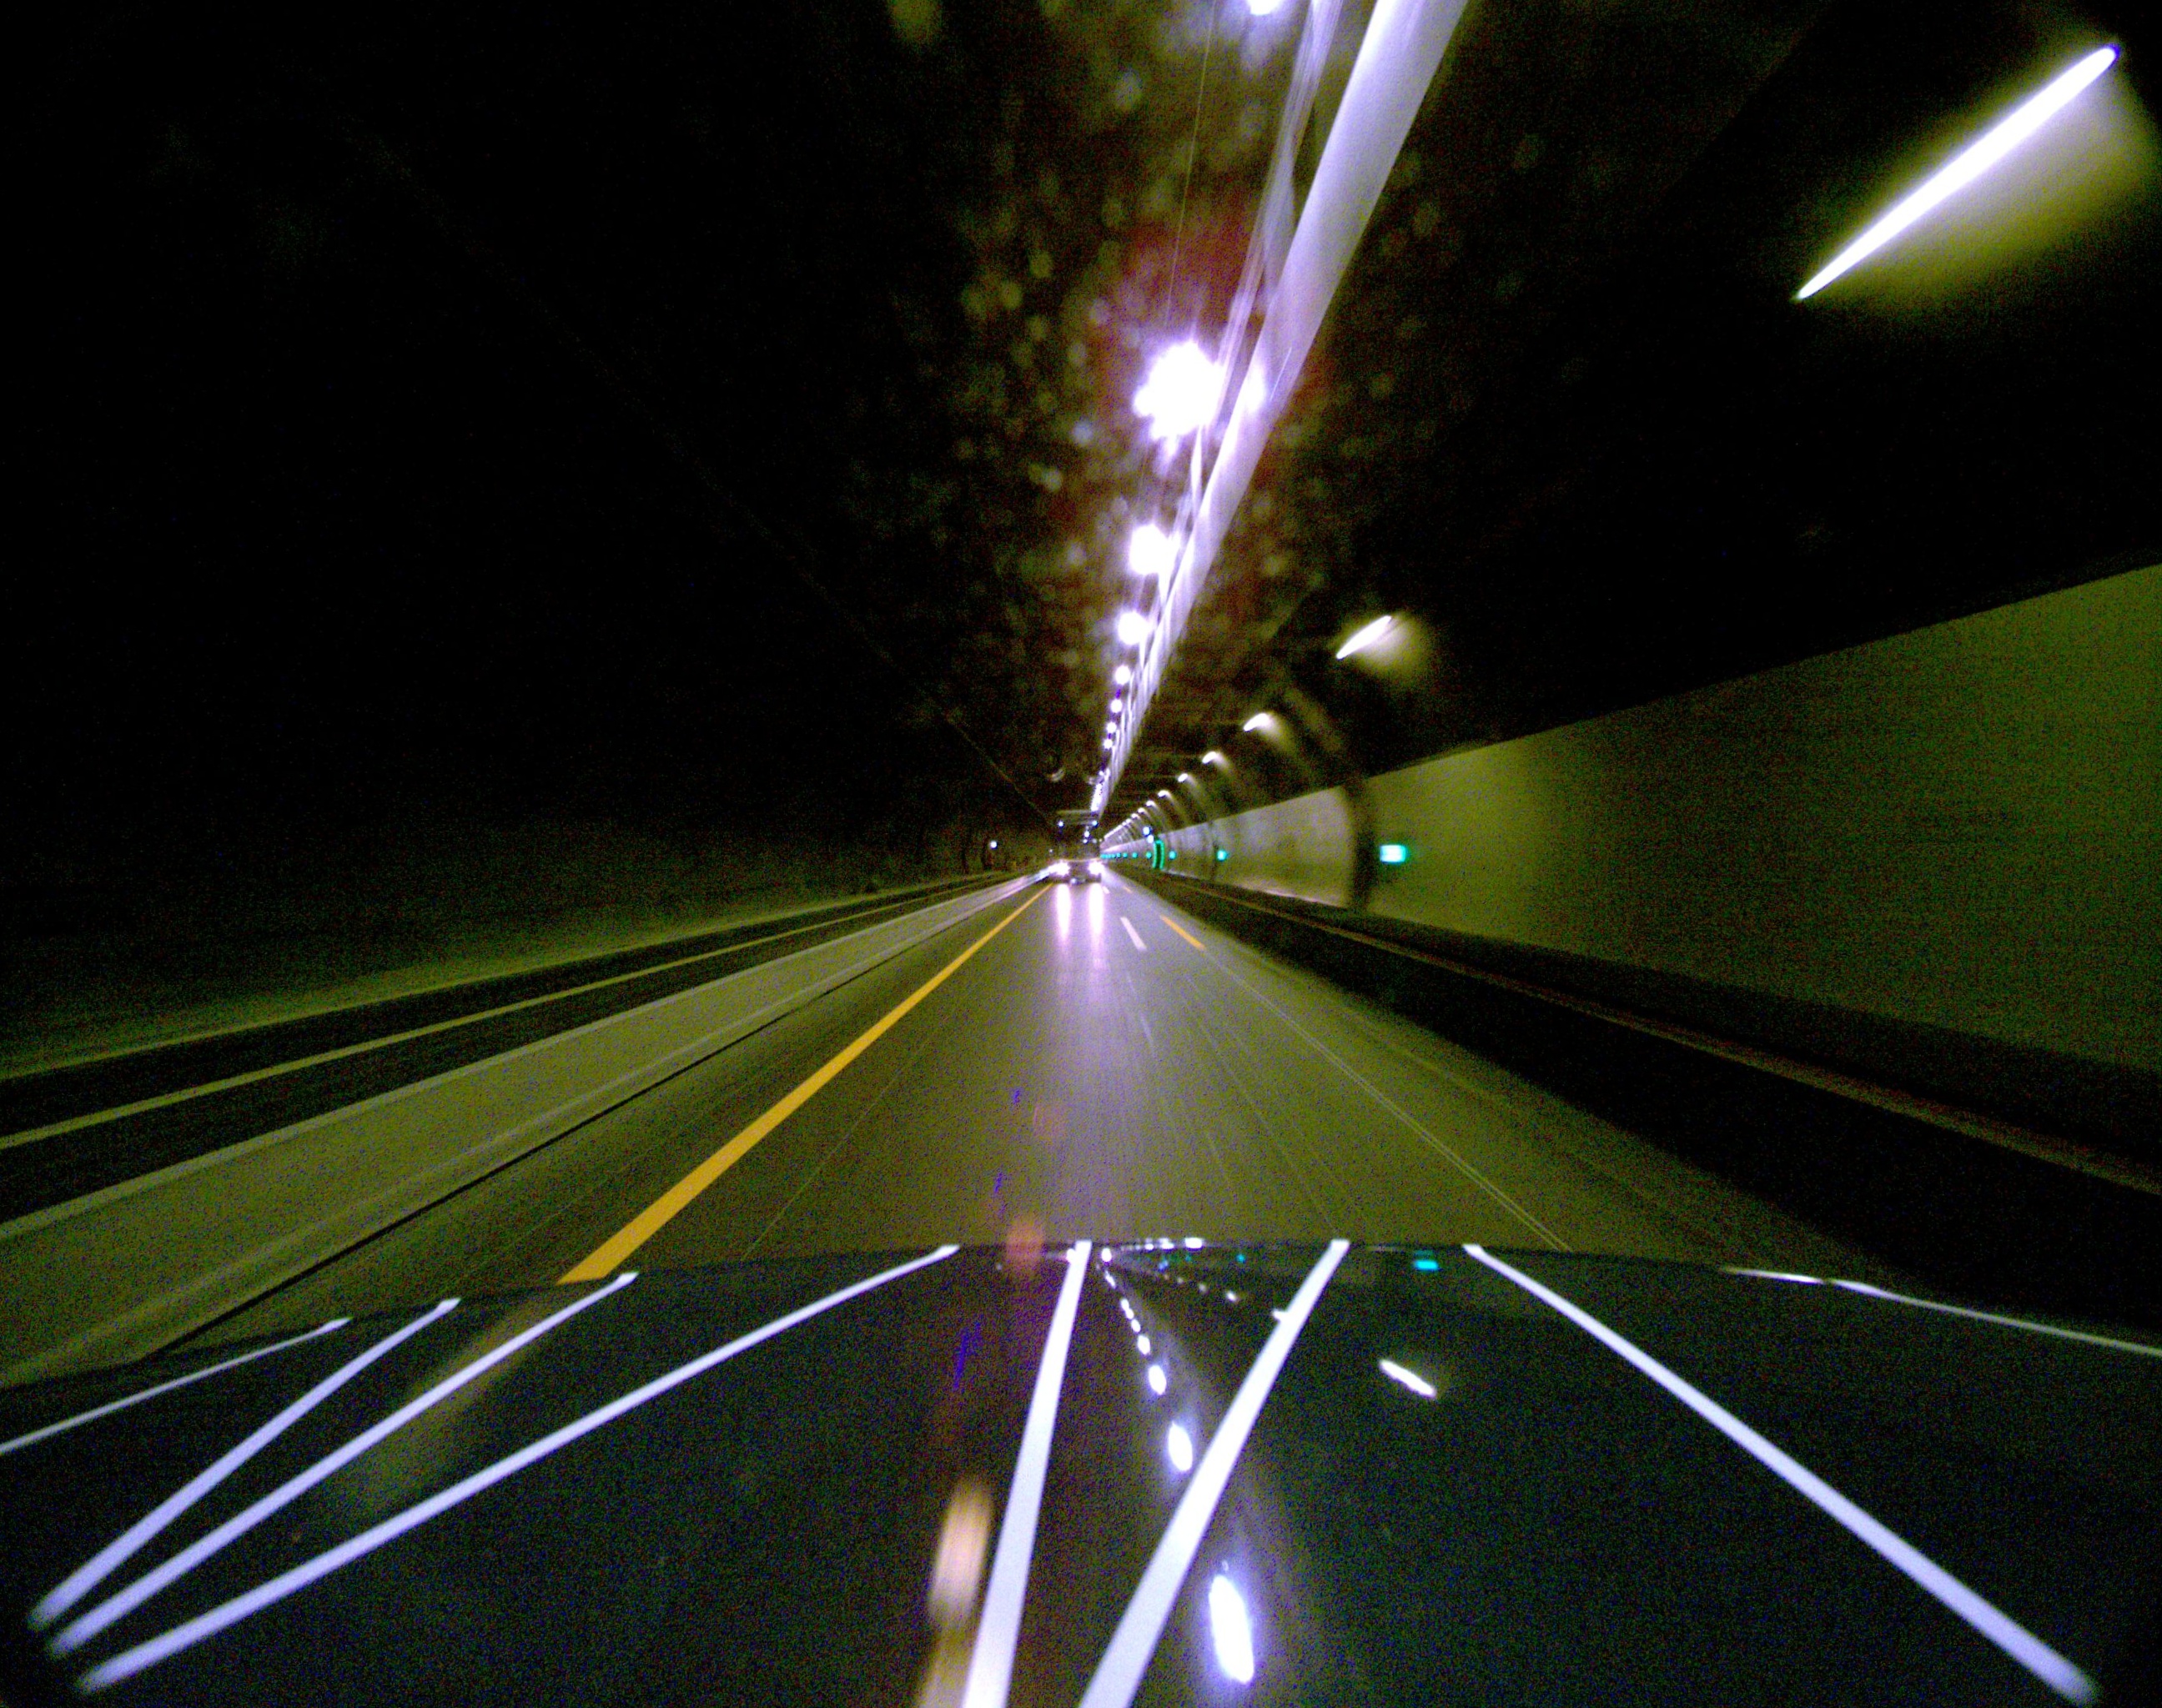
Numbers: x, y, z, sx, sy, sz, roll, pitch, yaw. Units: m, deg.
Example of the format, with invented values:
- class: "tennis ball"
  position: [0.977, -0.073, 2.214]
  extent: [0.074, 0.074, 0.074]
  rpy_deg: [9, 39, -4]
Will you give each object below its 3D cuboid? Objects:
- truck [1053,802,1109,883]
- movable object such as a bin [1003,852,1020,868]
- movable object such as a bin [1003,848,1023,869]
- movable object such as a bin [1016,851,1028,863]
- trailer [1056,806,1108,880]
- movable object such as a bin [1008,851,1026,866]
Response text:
- class: "truck"
  position: [0.044, -0.672, 44.905]
  extent: [2.951, 4.338, 6.674]
  rpy_deg: [-1, 1, 1]
- class: "movable object such as a bin"
  position: [-8.078, 0.669, 88.534]
  extent: [1.560, 1.699, 3.054]
  rpy_deg: [-1, 1, 0]
- class: "movable object such as a bin"
  position: [-7.377, 0.487, 82.807]
  extent: [1.688, 2.133, 4.627]
  rpy_deg: [-1, 1, 0]
- class: "movable object such as a bin"
  position: [-7.751, 0.383, 100.462]
  extent: [1.306, 1.584, 3.055]
  rpy_deg: [3, 0, 0]
- class: "trailer"
  position: [0.120, -0.685, 49.961]
  extent: [2.940, 4.316, 10.051]
  rpy_deg: [-1, 1, 1]
- class: "movable object such as a bin"
  position: [-7.936, 0.562, 94.310]
  extent: [1.865, 1.665, 4.501]
  rpy_deg: [3, 0, 0]
